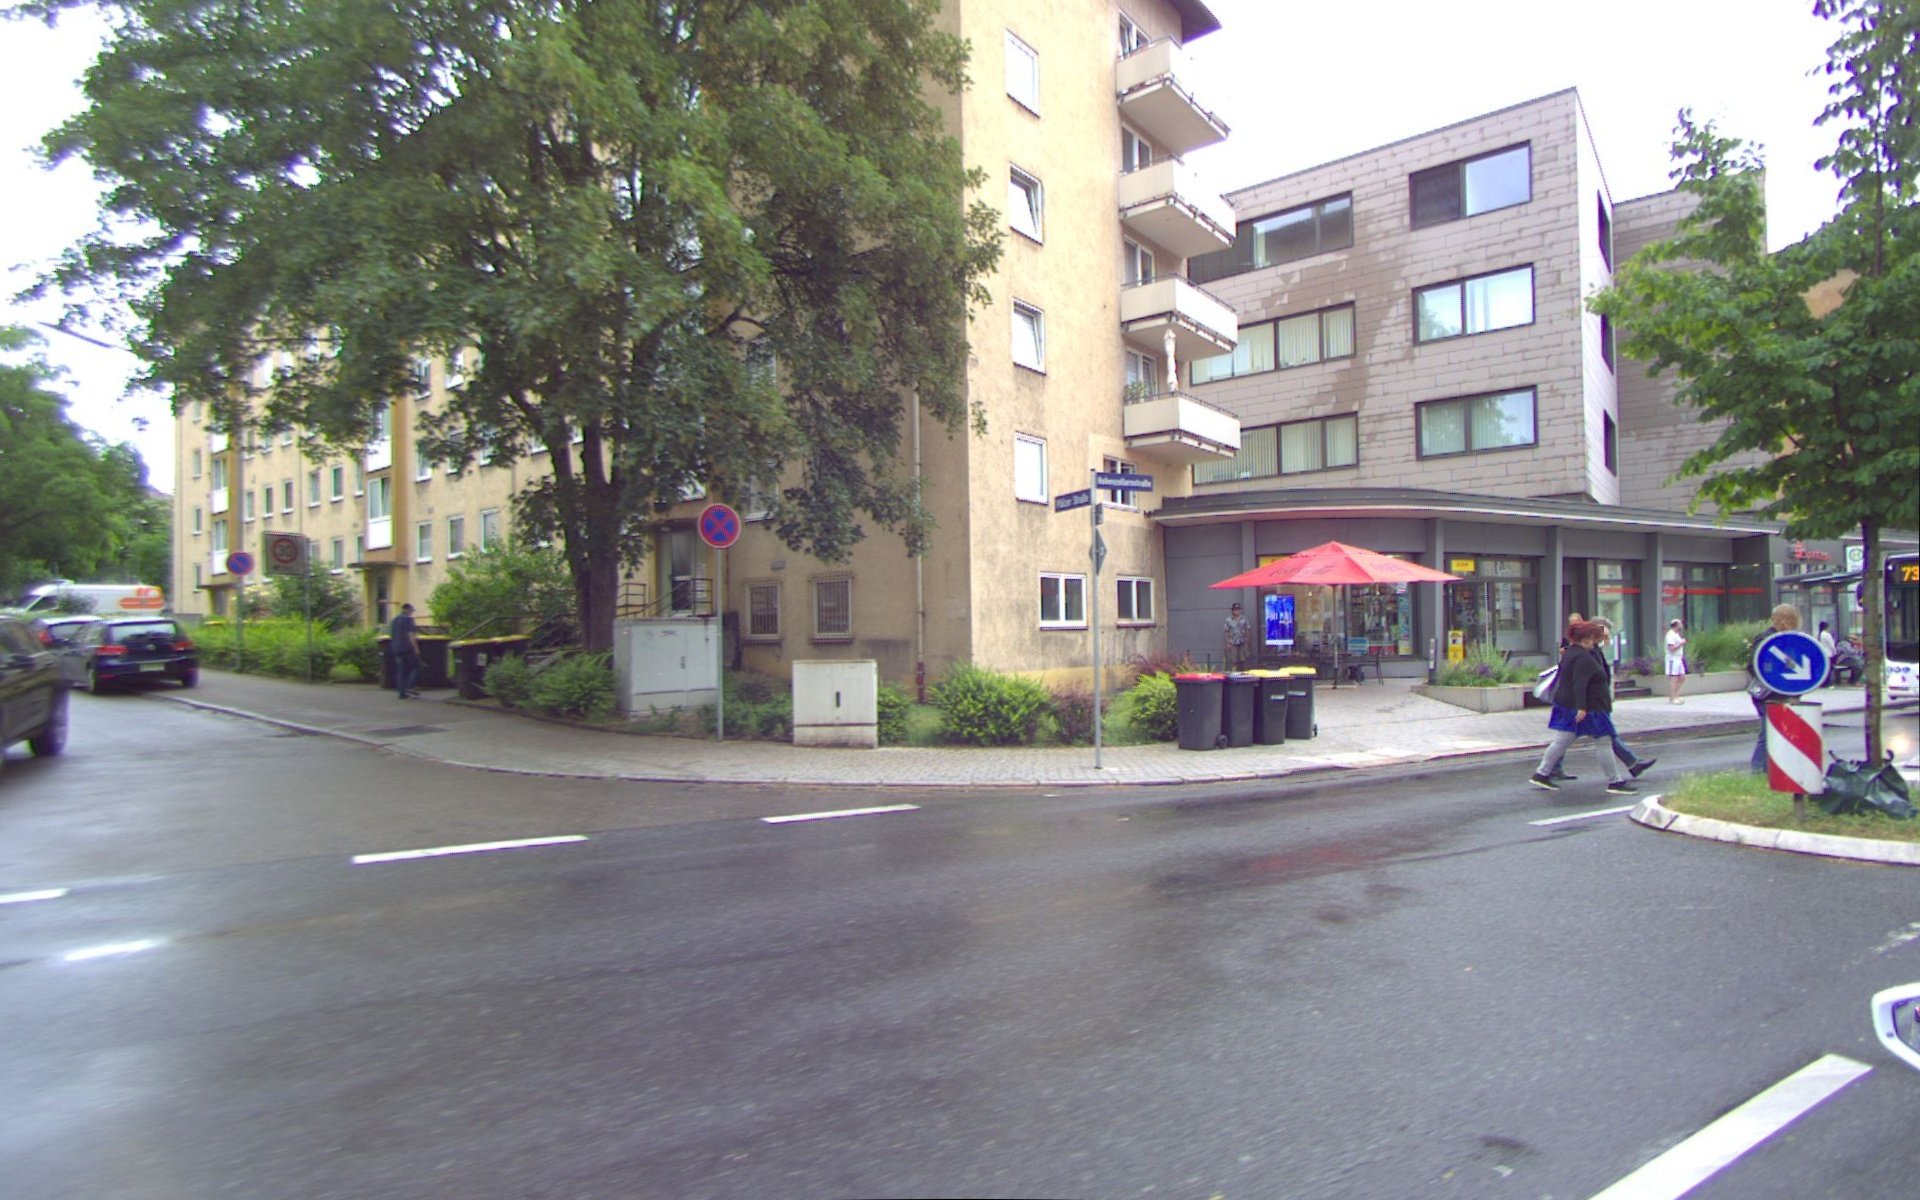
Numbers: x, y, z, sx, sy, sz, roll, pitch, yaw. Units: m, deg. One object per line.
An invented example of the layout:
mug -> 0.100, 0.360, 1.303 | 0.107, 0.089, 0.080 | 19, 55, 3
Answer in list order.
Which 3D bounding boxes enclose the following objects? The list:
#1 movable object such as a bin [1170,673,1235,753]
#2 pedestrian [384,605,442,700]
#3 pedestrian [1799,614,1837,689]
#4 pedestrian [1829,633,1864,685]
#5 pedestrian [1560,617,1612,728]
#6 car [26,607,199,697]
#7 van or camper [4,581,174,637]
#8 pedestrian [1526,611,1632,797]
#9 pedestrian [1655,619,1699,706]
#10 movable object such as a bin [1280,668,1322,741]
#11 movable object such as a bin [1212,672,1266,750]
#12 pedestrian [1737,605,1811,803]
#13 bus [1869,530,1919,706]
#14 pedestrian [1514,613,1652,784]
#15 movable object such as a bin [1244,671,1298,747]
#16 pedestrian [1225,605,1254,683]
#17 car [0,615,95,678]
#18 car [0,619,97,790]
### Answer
movable object such as a bin -> 3.468, 1.603, 14.376 | 0.722, 1.095, 0.551 | 3, -3, -28
pedestrian -> -10.330, 0.972, 18.981 | 0.618, 1.705, 0.814 | 3, 3, 41
pedestrian -> 20.358, 1.207, 23.836 | 0.462, 1.732, 0.539 | 3, 0, -35
pedestrian -> 21.907, 1.465, 24.822 | 0.538, 1.247, 0.463 | 3, 0, -28
pedestrian -> 10.505, 1.206, 16.866 | 0.462, 1.813, 0.539 | 3, 0, -37
car -> -17.702, 1.016, 20.960 | 3.545, 1.528, 1.685 | 3, 2, 30
van or camper -> -45.762, 0.518, 52.981 | 2.250, 2.668, 6.346 | 3, 0, 30
pedestrian -> 6.099, 1.001, 9.892 | 0.731, 1.731, 0.677 | -3, -4, 41
pedestrian -> 14.749, 1.268, 20.666 | 0.649, 1.728, 0.659 | 3, 0, 38
movable object such as a bin -> 5.252, 1.603, 15.495 | 0.530, 1.085, 0.472 | 1, -3, 8
movable object such as a bin -> 4.075, 1.605, 14.669 | 0.599, 1.095, 0.488 | 3, -3, -28
pedestrian -> 7.401, 0.924, 9.136 | 0.459, 1.731, 0.542 | -2, -3, 41
bus -> 23.117, 0.565, 20.961 | 11.817, 3.243, 2.668 | 3, 0, -30
pedestrian -> 6.792, 1.040, 10.978 | 0.708, 1.754, 1.054 | 1, -3, -38
movable object such as a bin -> 4.635, 1.614, 14.956 | 0.599, 1.095, 0.488 | 3, -3, -28
pedestrian -> 6.727, 1.045, 24.171 | 0.623, 1.840, 0.638 | 0, -1, 18
car -> -22.189, 1.074, 24.301 | 3.315, 1.238, 1.488 | 3, 3, 42
car -> -10.254, 0.975, 10.011 | 1.673, 1.603, 3.793 | 3, -3, -29
